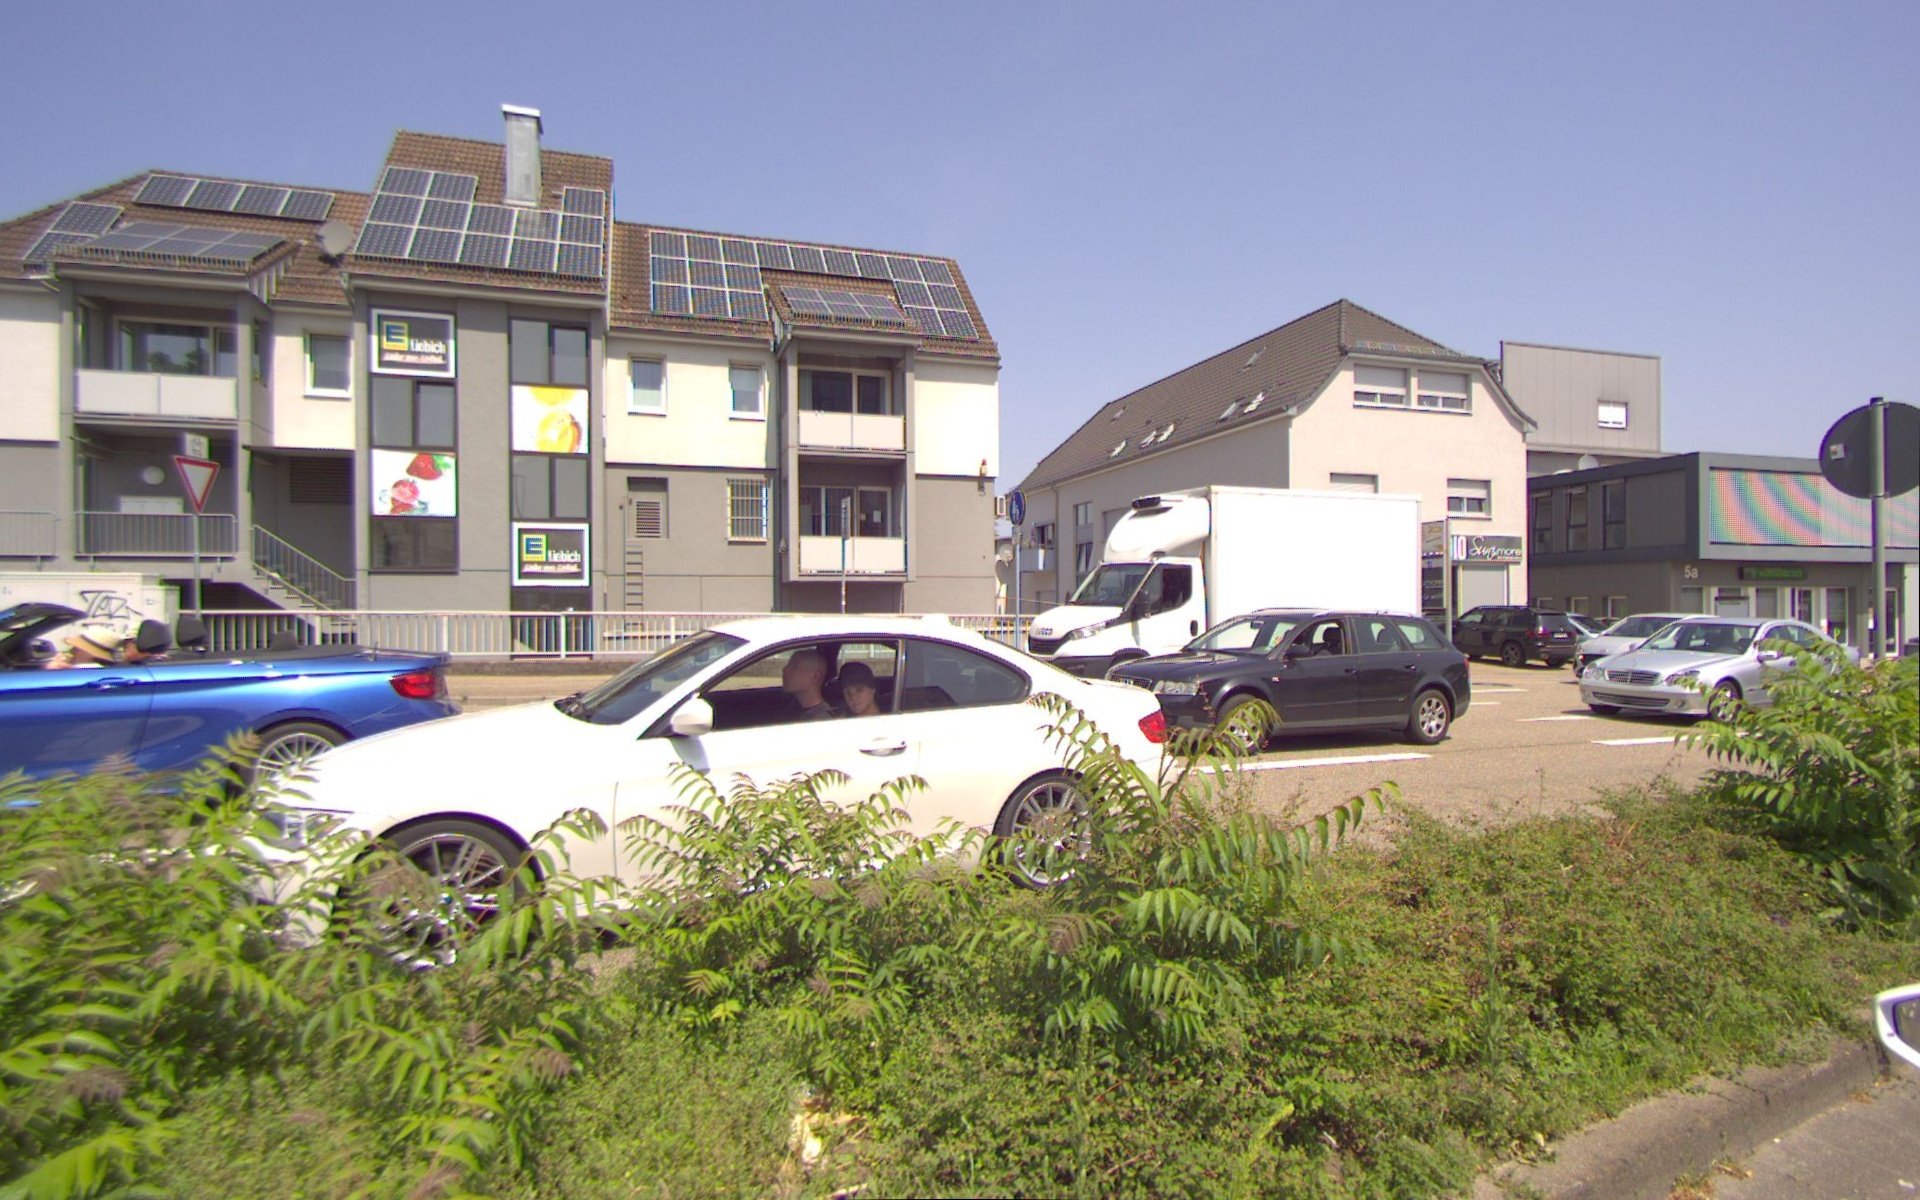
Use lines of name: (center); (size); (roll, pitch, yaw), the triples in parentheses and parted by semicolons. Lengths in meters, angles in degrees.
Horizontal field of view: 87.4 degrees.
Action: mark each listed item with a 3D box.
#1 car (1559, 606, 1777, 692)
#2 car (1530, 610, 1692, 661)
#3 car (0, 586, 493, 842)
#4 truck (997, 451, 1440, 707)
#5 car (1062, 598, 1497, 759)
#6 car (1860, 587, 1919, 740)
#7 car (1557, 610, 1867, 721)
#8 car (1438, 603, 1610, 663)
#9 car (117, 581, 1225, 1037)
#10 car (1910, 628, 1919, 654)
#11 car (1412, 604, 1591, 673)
car: (14.585, 0.983, 20.687); (4.142, 1.587, 1.891); (2, 0, -26)
car: (21.028, 1.122, 32.617); (1.971, 1.541, 4.049); (1, -1, -22)
car: (-5.451, 0.628, 6.489); (4.295, 1.384, 1.854); (1, 1, -30)
truck: (4.213, -0.235, 16.060); (6.941, 3.463, 2.258); (1, 0, -24)
car: (3.522, 0.766, 10.997); (4.514, 1.459, 1.796); (1, 0, -25)
car: (13.425, 0.821, 12.261); (4.695, 1.774, 1.903); (2, 0, -25)
car: (10.815, 0.884, 14.432); (4.142, 1.379, 1.891); (2, 0, -26)
car: (17.953, 0.991, 32.229); (1.730, 1.517, 4.588); (0, 3, -26)
car: (-1.054, 0.703, 5.149); (4.686, 1.450, 1.855); (1, 0, -29)
car: (56.823, 2.326, 56.887); (1.936, 1.487, 3.962); (0, -1, -24)
car: (15.869, 1.074, 29.766); (1.825, 1.649, 4.600); (1, 3, -19)
